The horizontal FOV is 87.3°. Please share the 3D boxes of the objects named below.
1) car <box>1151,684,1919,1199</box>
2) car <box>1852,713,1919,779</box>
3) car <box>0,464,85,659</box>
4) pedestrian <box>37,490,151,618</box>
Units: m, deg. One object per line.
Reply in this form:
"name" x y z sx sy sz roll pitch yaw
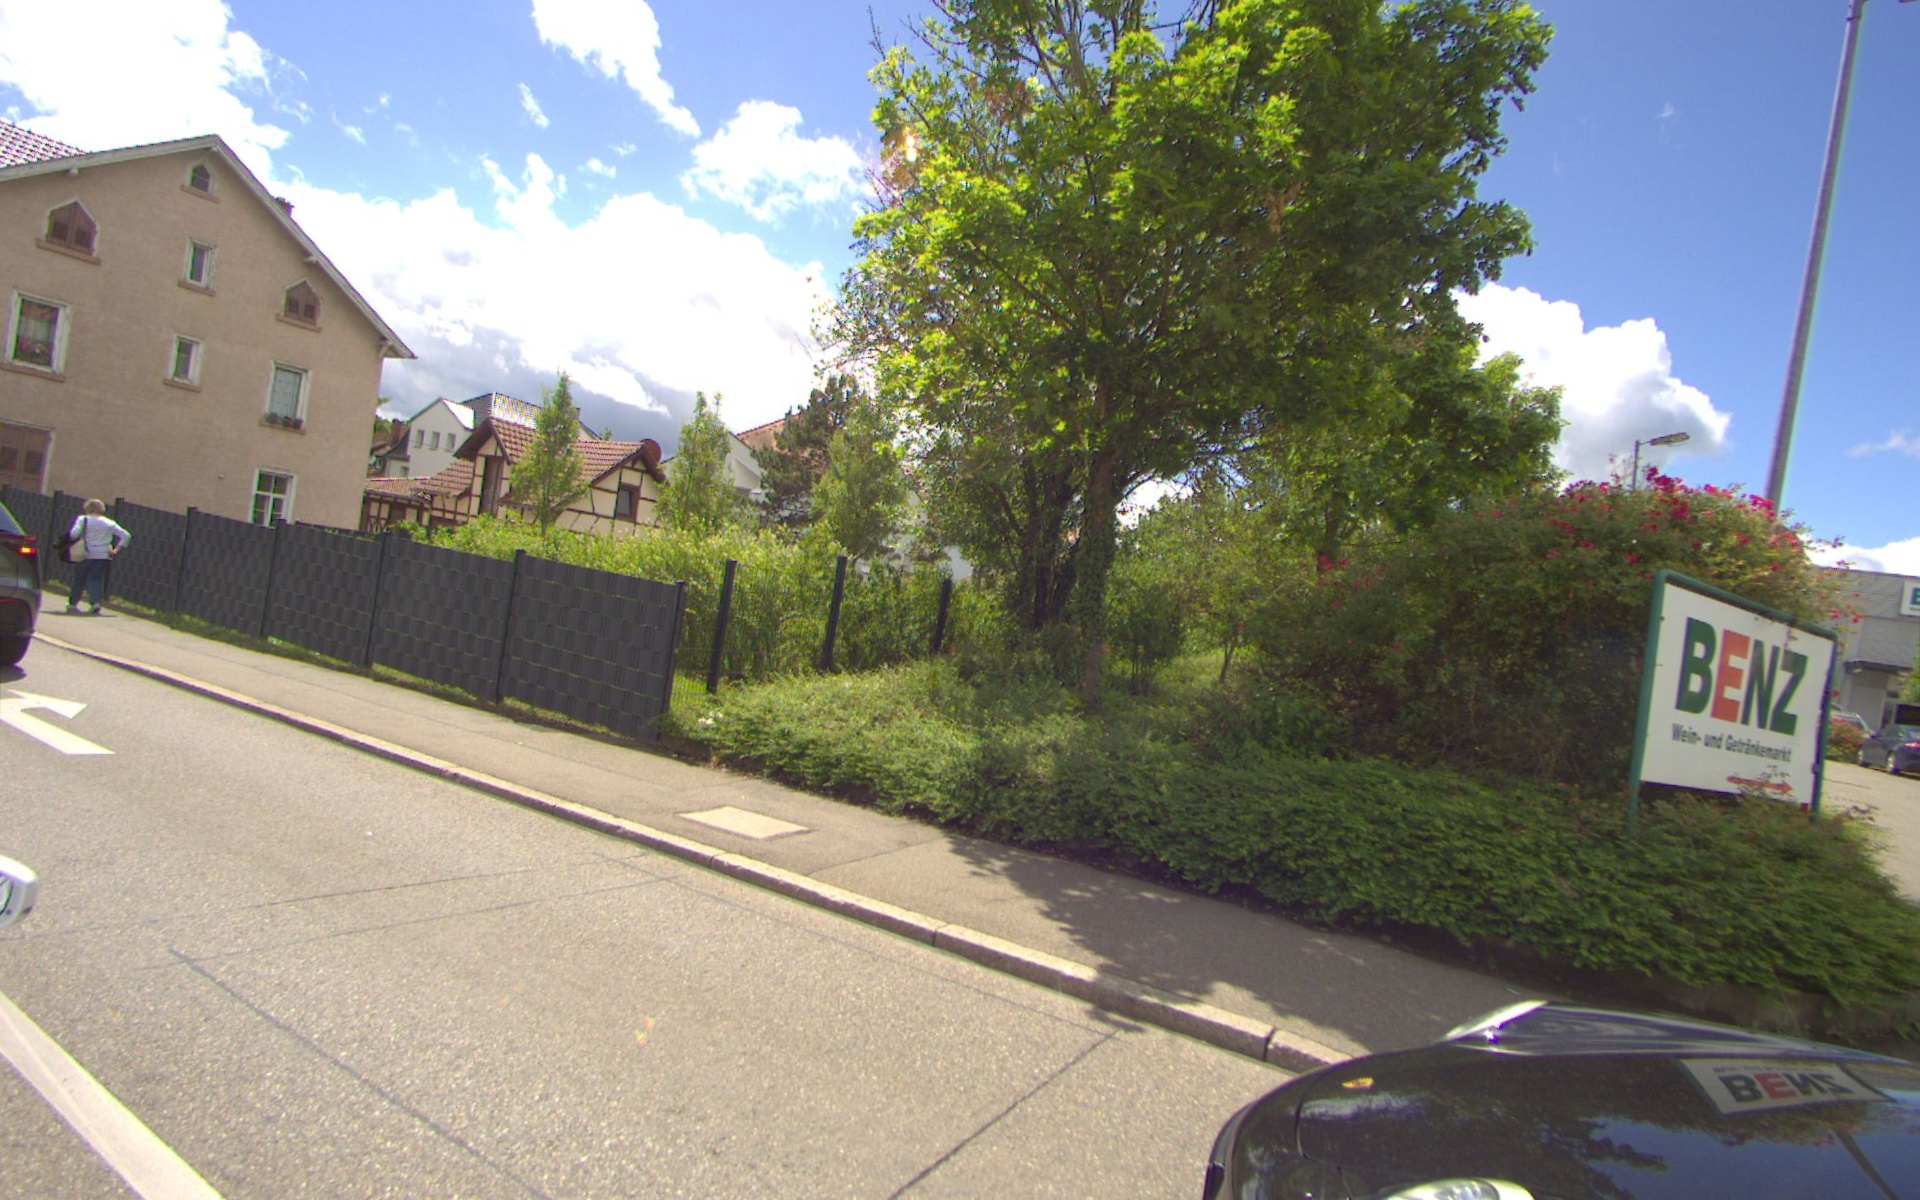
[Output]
"car" 2.545 1.223 1.273 4.140 1.393 1.933 10 1 34
"car" 27.834 4.311 29.140 1.890 1.595 4.299 8 0 29
"car" -9.984 -0.576 9.040 4.138 1.602 1.934 7 -1 31
"pedestrian" -11.920 -0.626 13.849 1.052 1.602 0.813 8 2 31
